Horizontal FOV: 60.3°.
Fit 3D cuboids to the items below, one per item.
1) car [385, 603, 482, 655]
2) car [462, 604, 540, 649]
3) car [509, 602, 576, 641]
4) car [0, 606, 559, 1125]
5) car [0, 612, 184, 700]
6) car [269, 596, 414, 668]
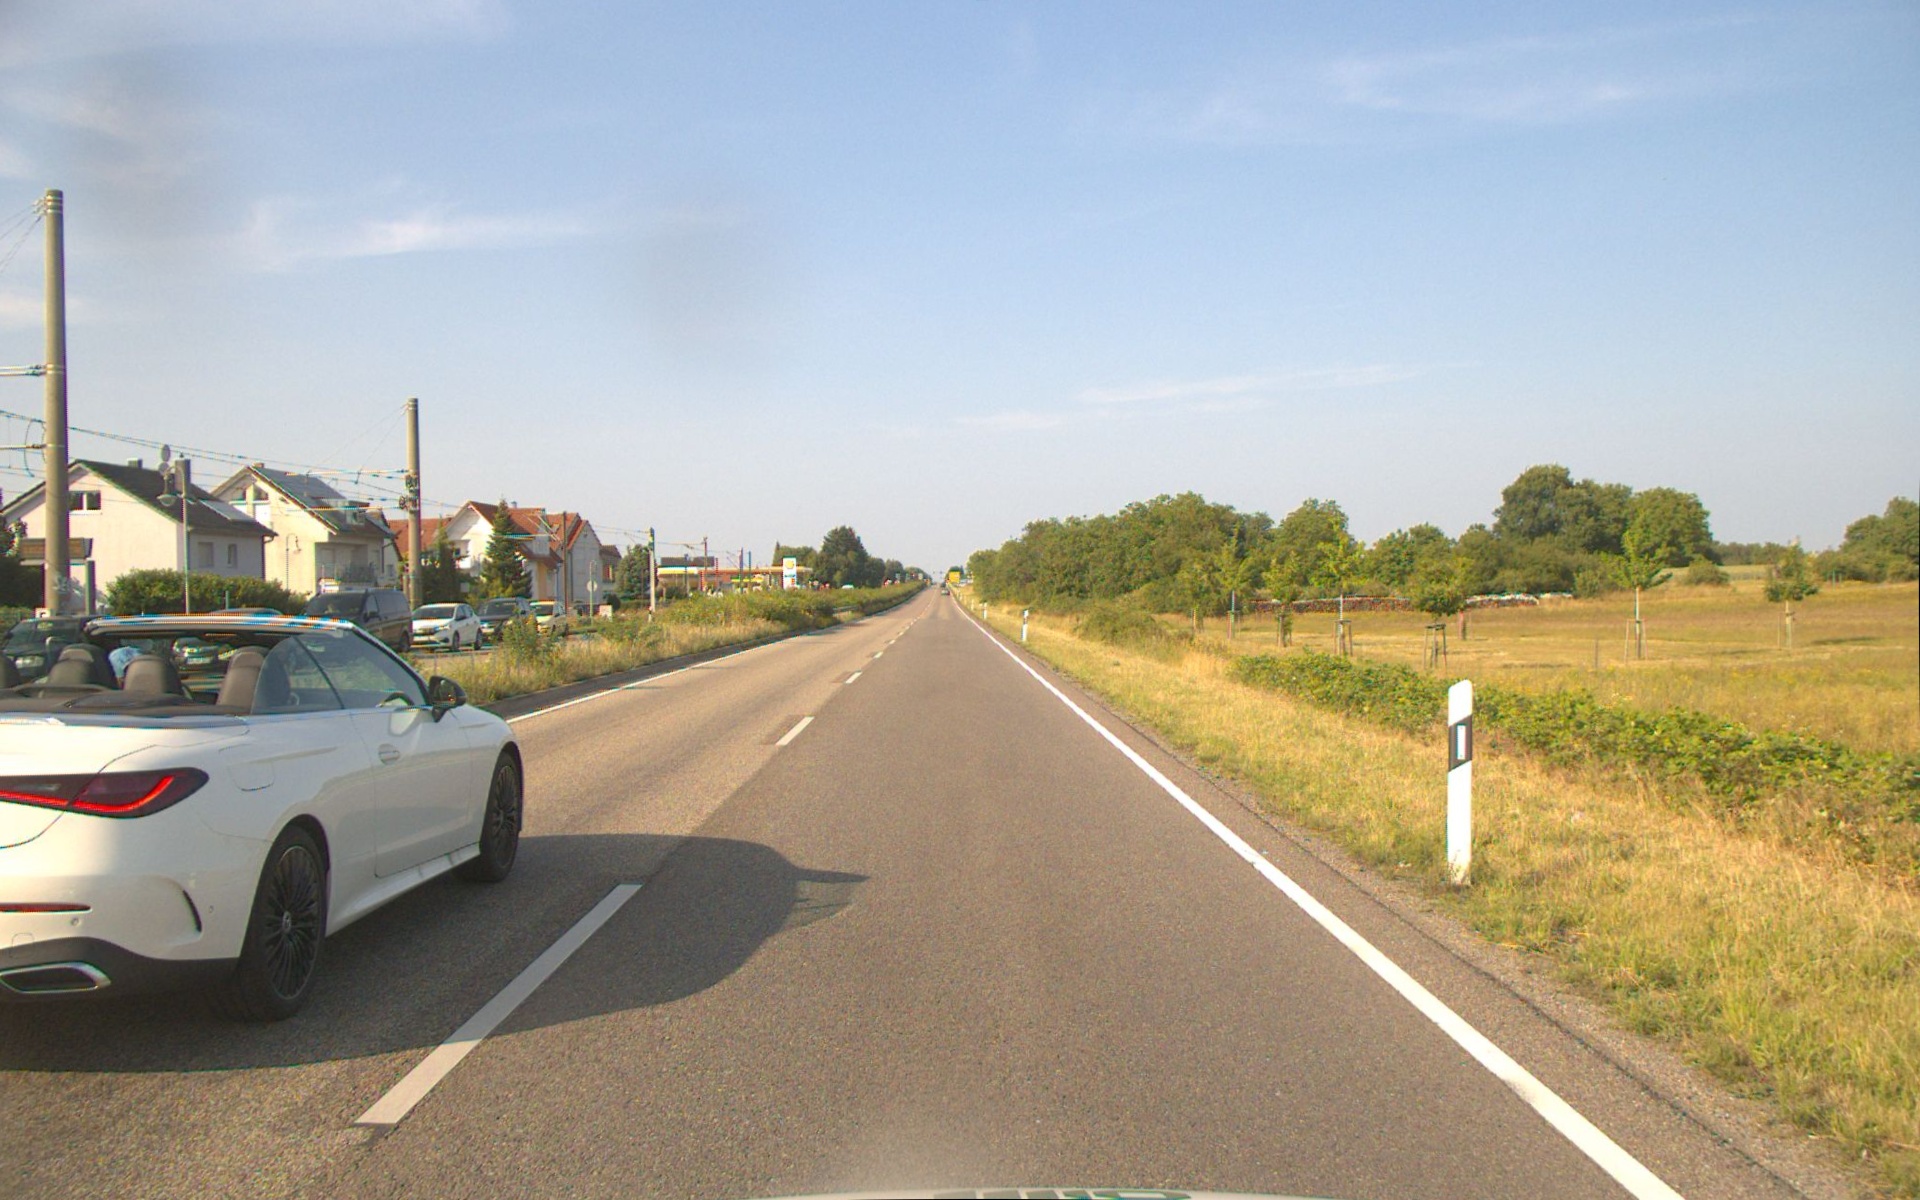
[{"bbox_3d":[-16.344,0.874,51.547,1.626,1.456,4.447,-2,0,-1],"label":"car"},{"bbox_3d":[-16.573,0.931,59.951,1.626,1.456,4.325,-2,0,-1],"label":"car"},{"bbox_3d":[-17.018,0.849,67.619,1.626,1.456,4.325,-2,0,-1],"label":"car"},{"bbox_3d":[-3.161,0.736,6.999,1.735,1.361,4.949,1,0,0],"label":"car"},{"bbox_3d":[-16.632,1.015,31.341,1.626,1.456,4.716,-2,0,-1],"label":"car"},{"bbox_3d":[-16.343,0.793,44.022,1.876,1.712,5.253,-2,0,-1],"label":"car"}]
